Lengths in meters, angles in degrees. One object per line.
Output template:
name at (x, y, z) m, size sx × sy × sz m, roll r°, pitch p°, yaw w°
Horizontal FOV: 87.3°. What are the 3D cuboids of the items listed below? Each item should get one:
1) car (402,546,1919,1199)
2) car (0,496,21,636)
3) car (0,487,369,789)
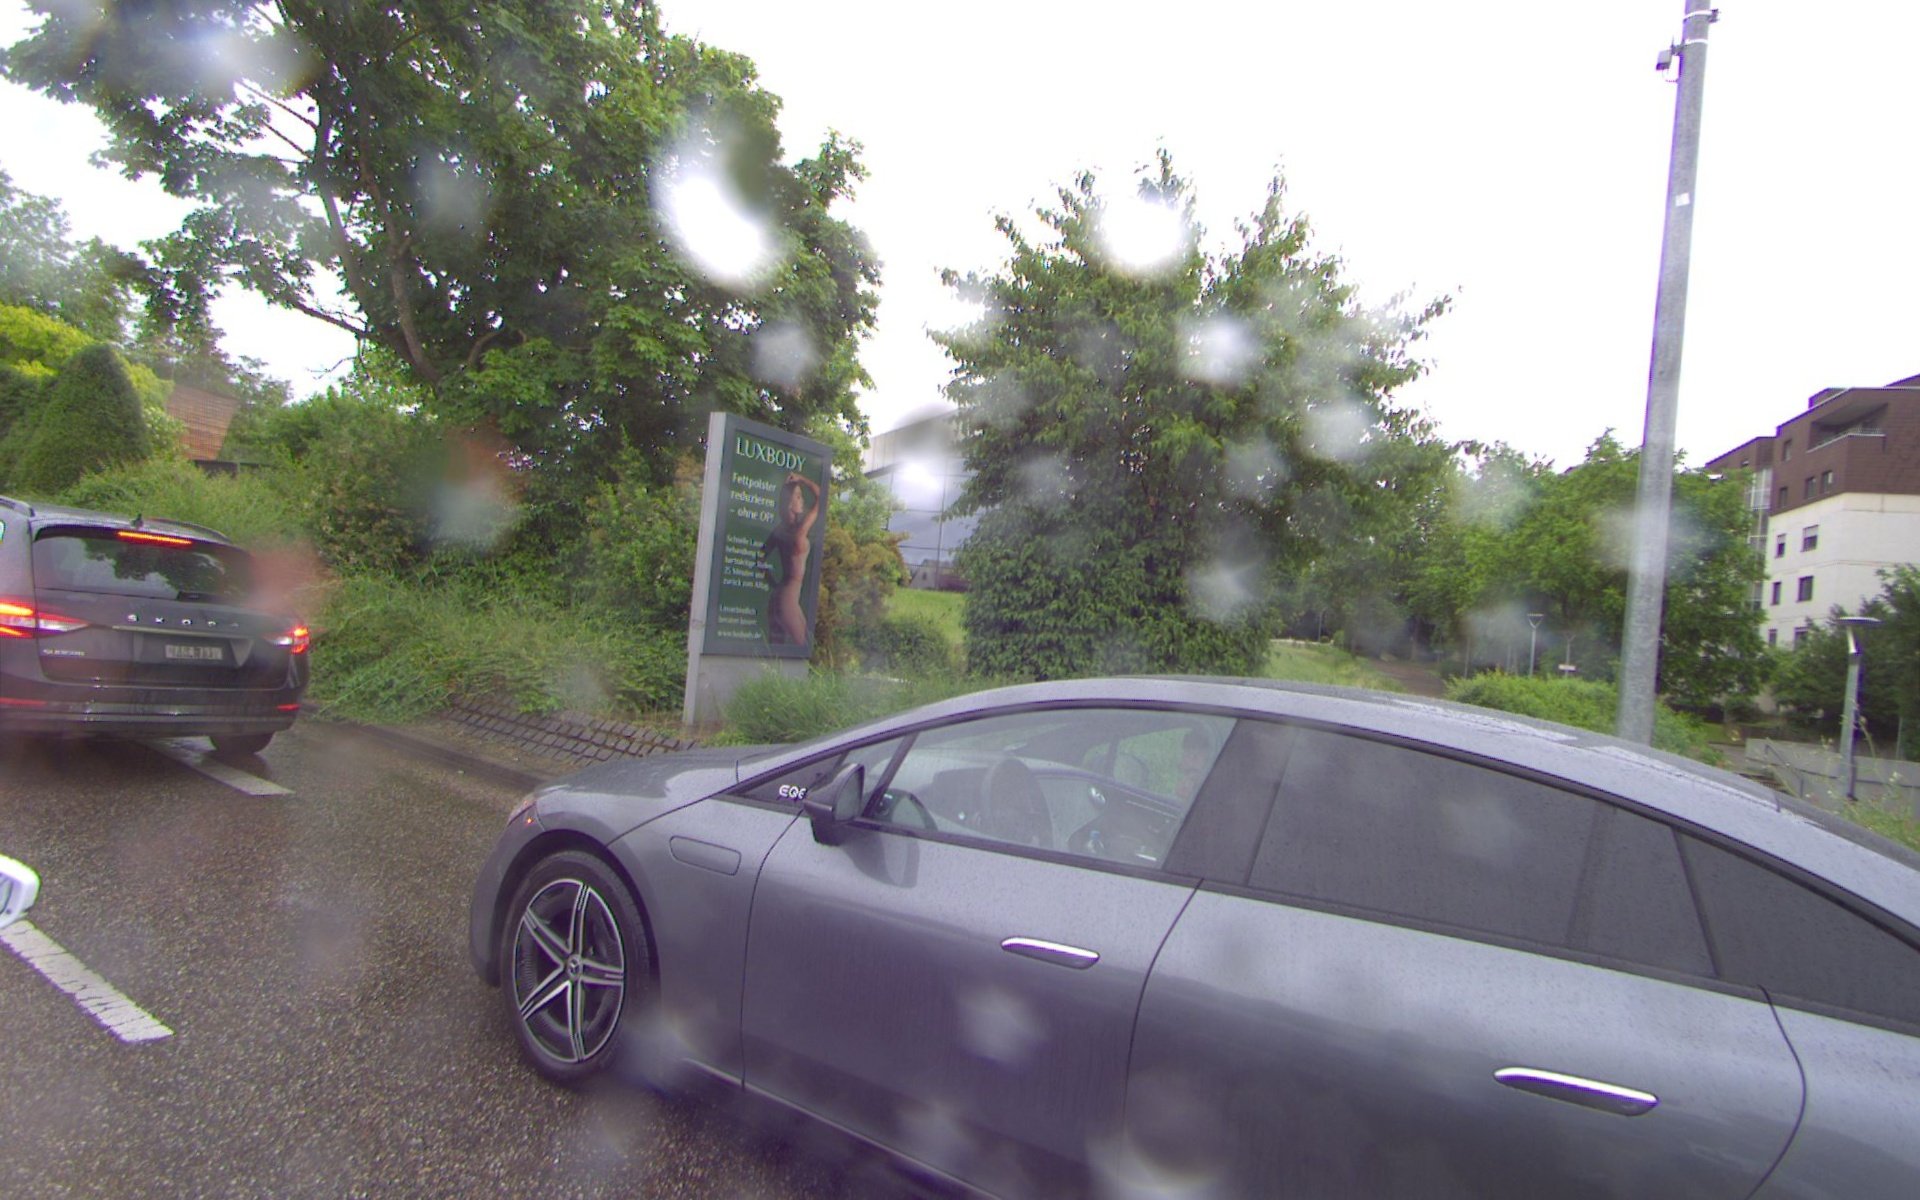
car at (0.716, 0.908, 2.907) m, size 4.728 × 1.483 × 1.842 m, roll 7°, pitch -2°, yaw 31°
car at (-12.172, -0.647, 10.848) m, size 4.048 × 1.483 × 1.842 m, roll 7°, pitch -2°, yaw 31°
car at (-6.094, 0.059, 6.750) m, size 4.279 × 1.483 × 1.841 m, roll 7°, pitch -2°, yaw 33°
